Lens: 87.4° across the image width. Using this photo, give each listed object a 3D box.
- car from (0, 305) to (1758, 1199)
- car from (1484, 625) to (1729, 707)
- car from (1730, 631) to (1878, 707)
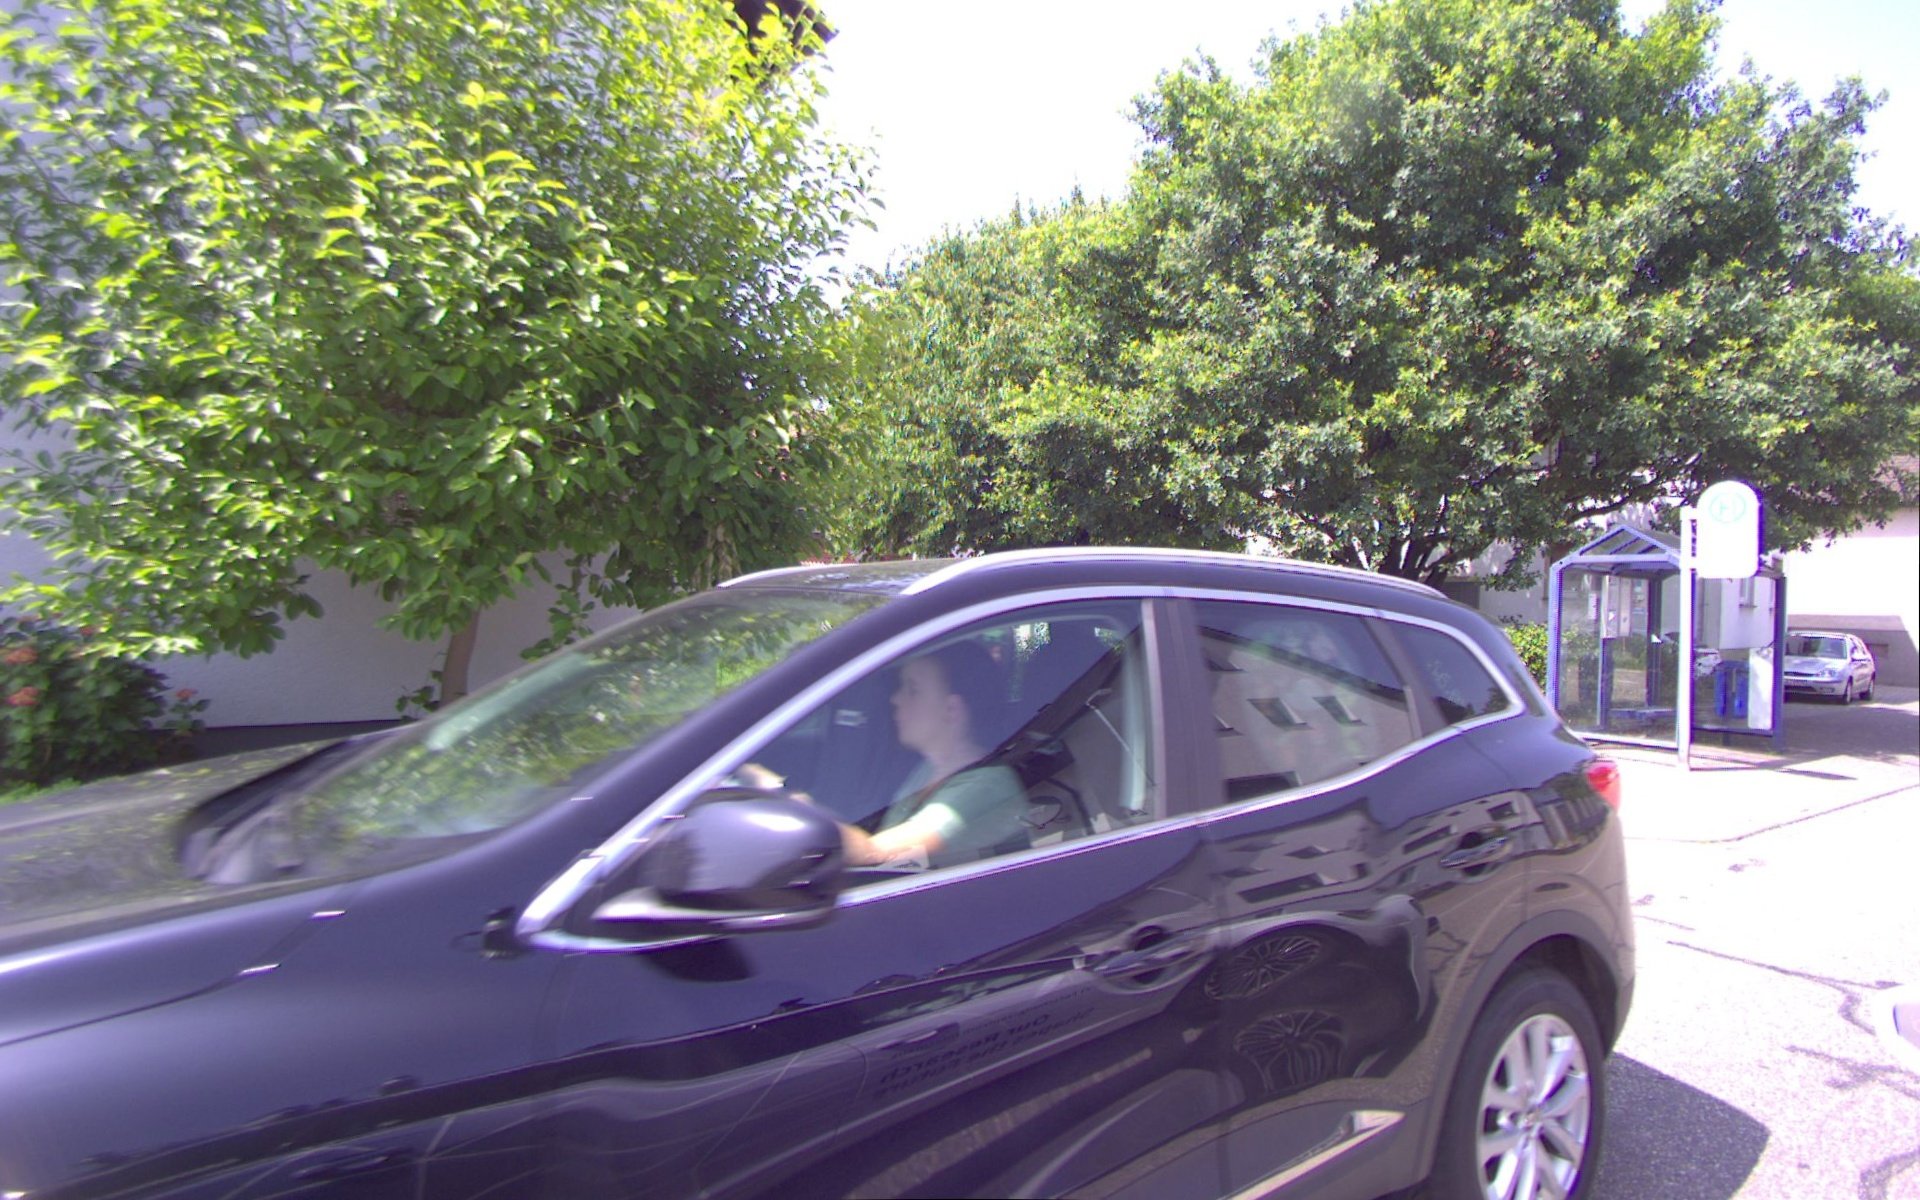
[{"bbox_3d":[-0.035,0.629,2.368,4.060,1.645,1.766,2,-1,-32],"label":"car"},{"bbox_3d":[13.805,1.338,21.663,1.757,1.559,4.129,2,-2,-37],"label":"car"},{"bbox_3d":[18.645,1.455,22.139,4.022,1.454,1.764,2,0,-40],"label":"car"}]
